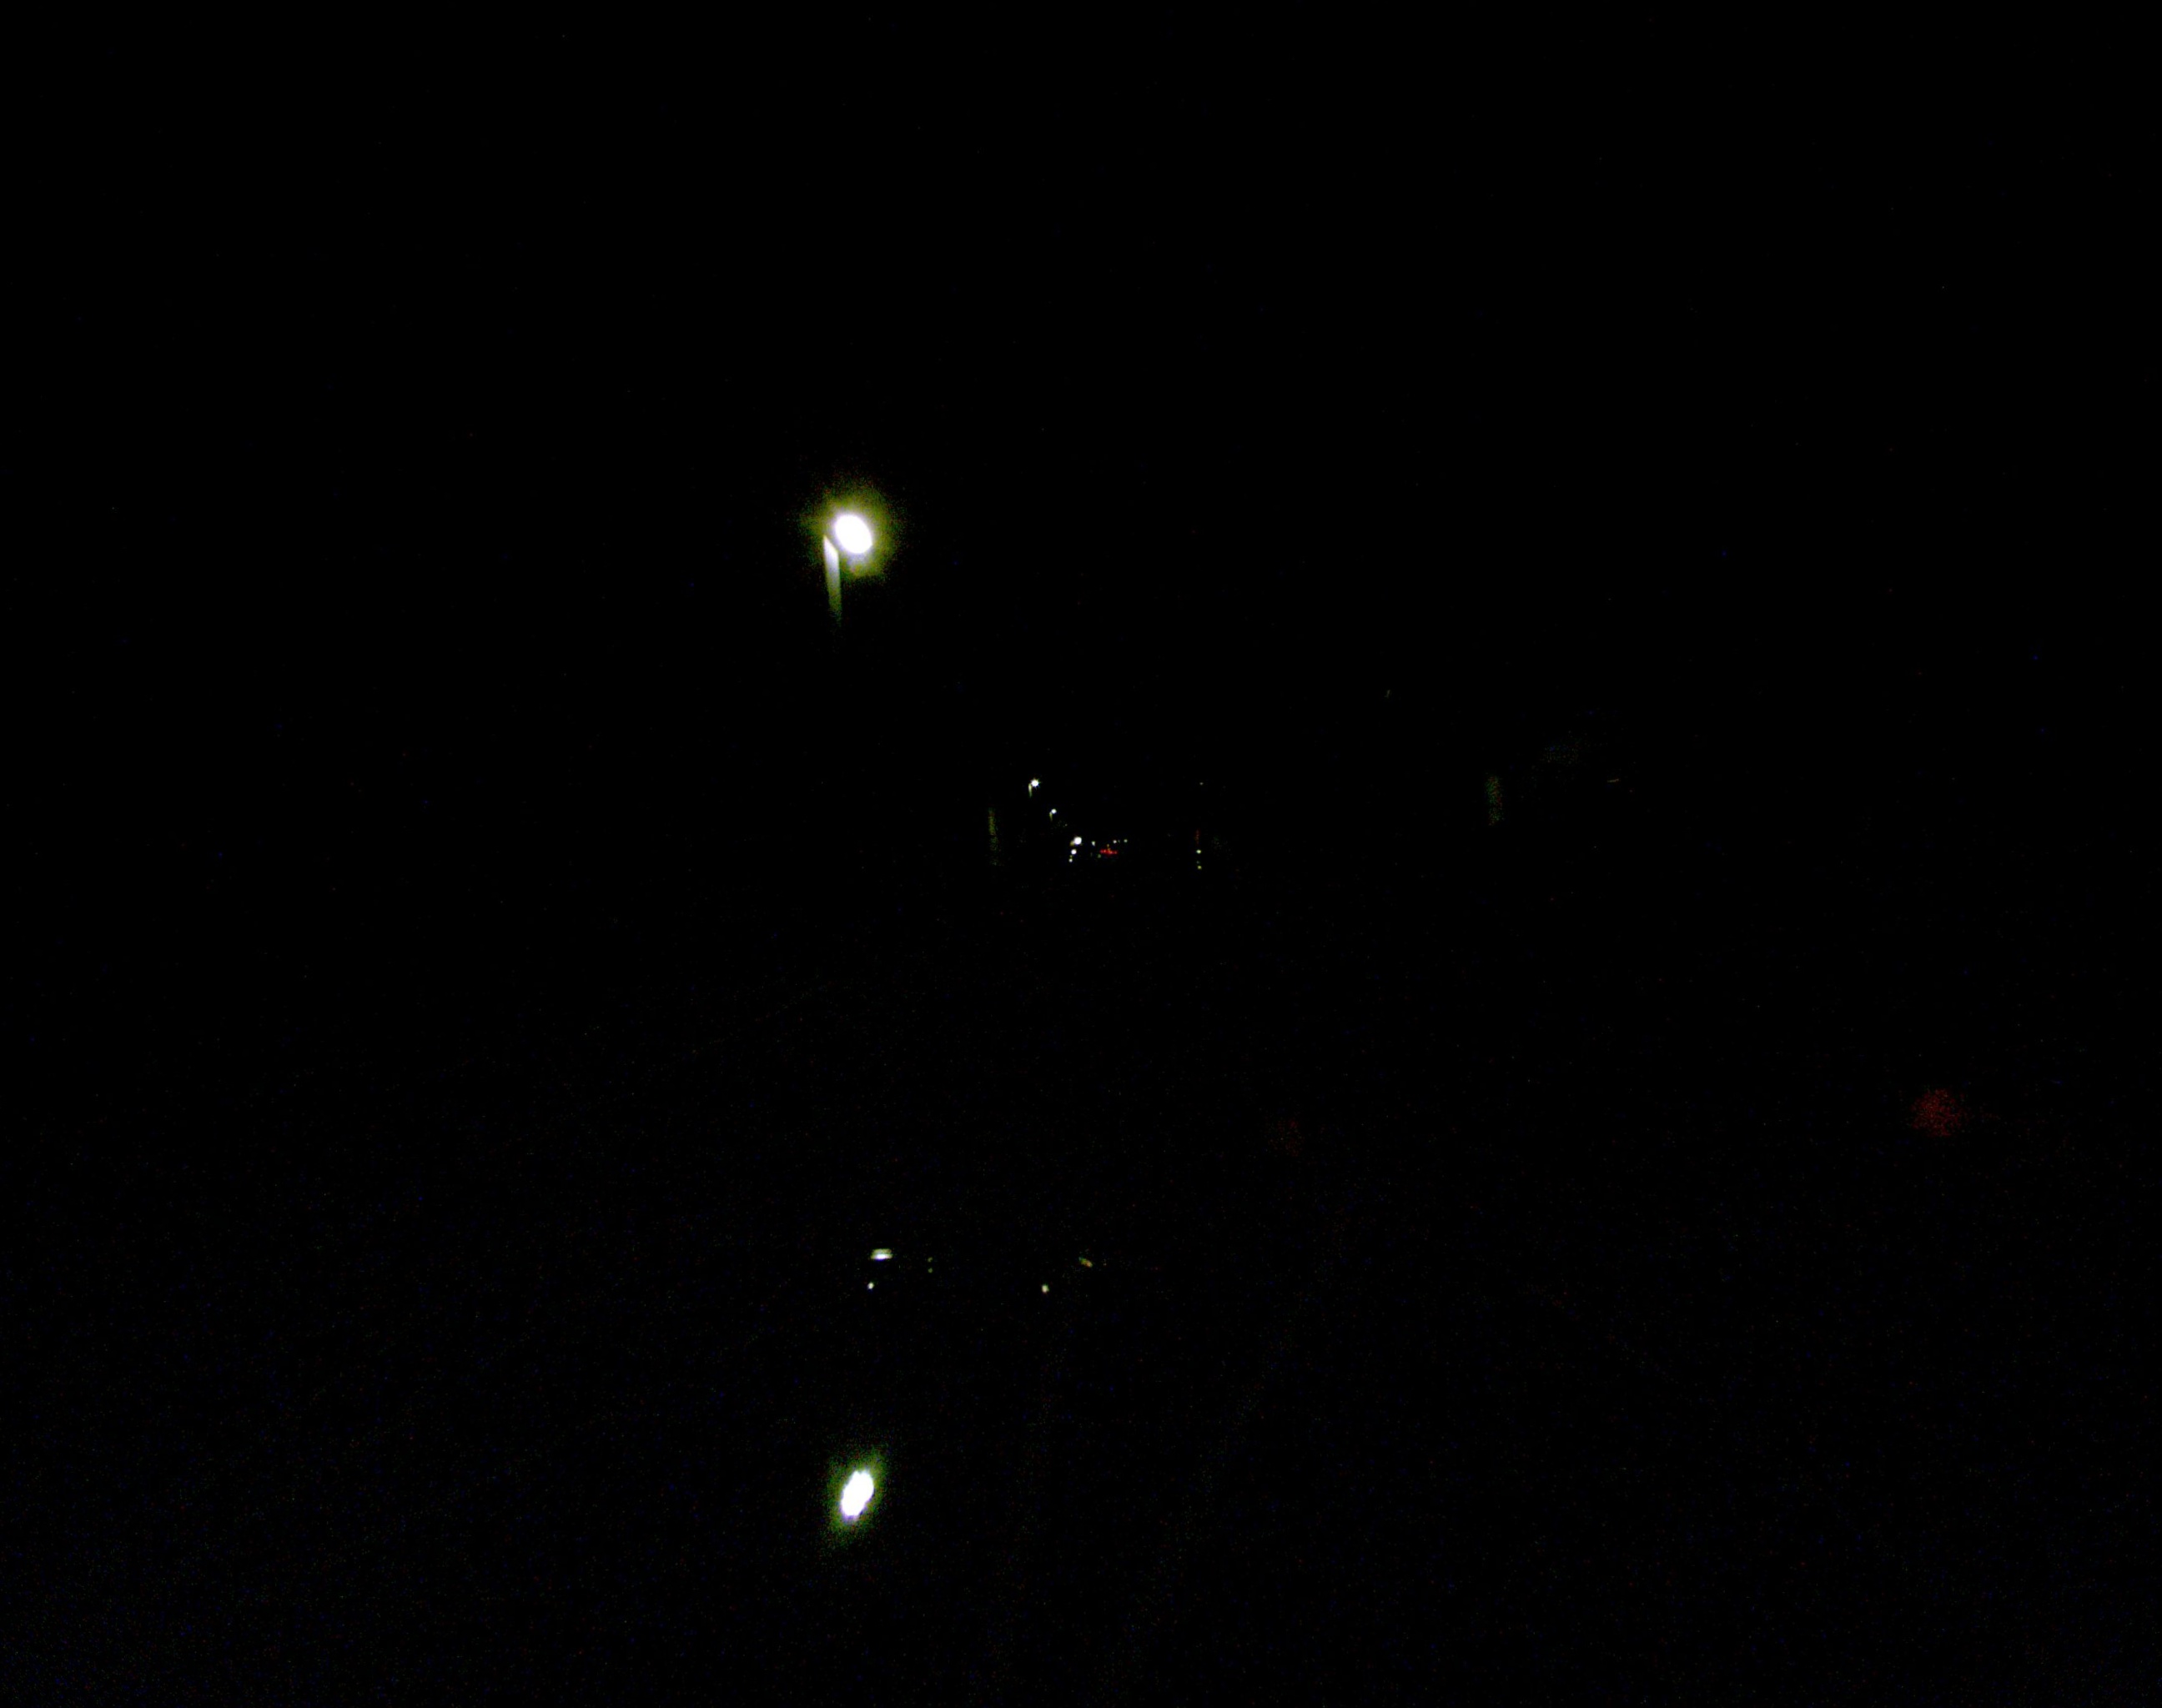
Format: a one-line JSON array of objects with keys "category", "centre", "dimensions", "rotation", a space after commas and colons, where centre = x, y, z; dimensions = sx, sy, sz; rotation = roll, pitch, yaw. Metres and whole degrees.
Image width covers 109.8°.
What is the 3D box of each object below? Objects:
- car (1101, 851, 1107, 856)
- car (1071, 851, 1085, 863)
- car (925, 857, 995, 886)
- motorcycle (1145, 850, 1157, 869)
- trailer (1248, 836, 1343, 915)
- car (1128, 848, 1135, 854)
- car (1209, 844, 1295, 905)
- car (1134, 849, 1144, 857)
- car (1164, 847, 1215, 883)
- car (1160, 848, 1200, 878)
[{"category": "car", "centre": [6.150, -0.131, 206.414], "dimensions": [1.606, 1.474, 3.699], "rotation": [-2, 0, 1]}, {"category": "car", "centre": [-0.420, 0.443, 104.366], "dimensions": [1.747, 1.560, 4.209], "rotation": [-2, 0, 2]}, {"category": "car", "centre": [-7.127, 1.004, 44.911], "dimensions": [3.720, 1.464, 1.730], "rotation": [-3, 1, 4]}, {"category": "motorcycle", "centre": [5.563, 0.401, 60.096], "dimensions": [0.747, 1.444, 2.197], "rotation": [-2, 1, 9]}, {"category": "trailer", "centre": [5.261, 0.477, 18.991], "dimensions": [1.451, 1.678, 3.426], "rotation": [-5, 0, 3]}, {"category": "car", "centre": [14.044, -0.809, 211.767], "dimensions": [1.814, 1.637, 3.804], "rotation": [-4, 0, 3]}, {"category": "car", "centre": [4.920, 0.547, 22.223], "dimensions": [1.675, 1.513, 2.978], "rotation": [-5, 0, -1]}, {"category": "car", "centre": [12.012, -0.197, 157.897], "dimensions": [1.900, 1.411, 4.931], "rotation": [-4, 0, 4]}, {"category": "car", "centre": [5.077, 0.489, 35.985], "dimensions": [1.771, 1.510, 4.278], "rotation": [-4, 0, 1]}, {"category": "car", "centre": [5.387, 0.458, 41.752], "dimensions": [1.692, 1.501, 4.278], "rotation": [-3, 0, 1]}]
